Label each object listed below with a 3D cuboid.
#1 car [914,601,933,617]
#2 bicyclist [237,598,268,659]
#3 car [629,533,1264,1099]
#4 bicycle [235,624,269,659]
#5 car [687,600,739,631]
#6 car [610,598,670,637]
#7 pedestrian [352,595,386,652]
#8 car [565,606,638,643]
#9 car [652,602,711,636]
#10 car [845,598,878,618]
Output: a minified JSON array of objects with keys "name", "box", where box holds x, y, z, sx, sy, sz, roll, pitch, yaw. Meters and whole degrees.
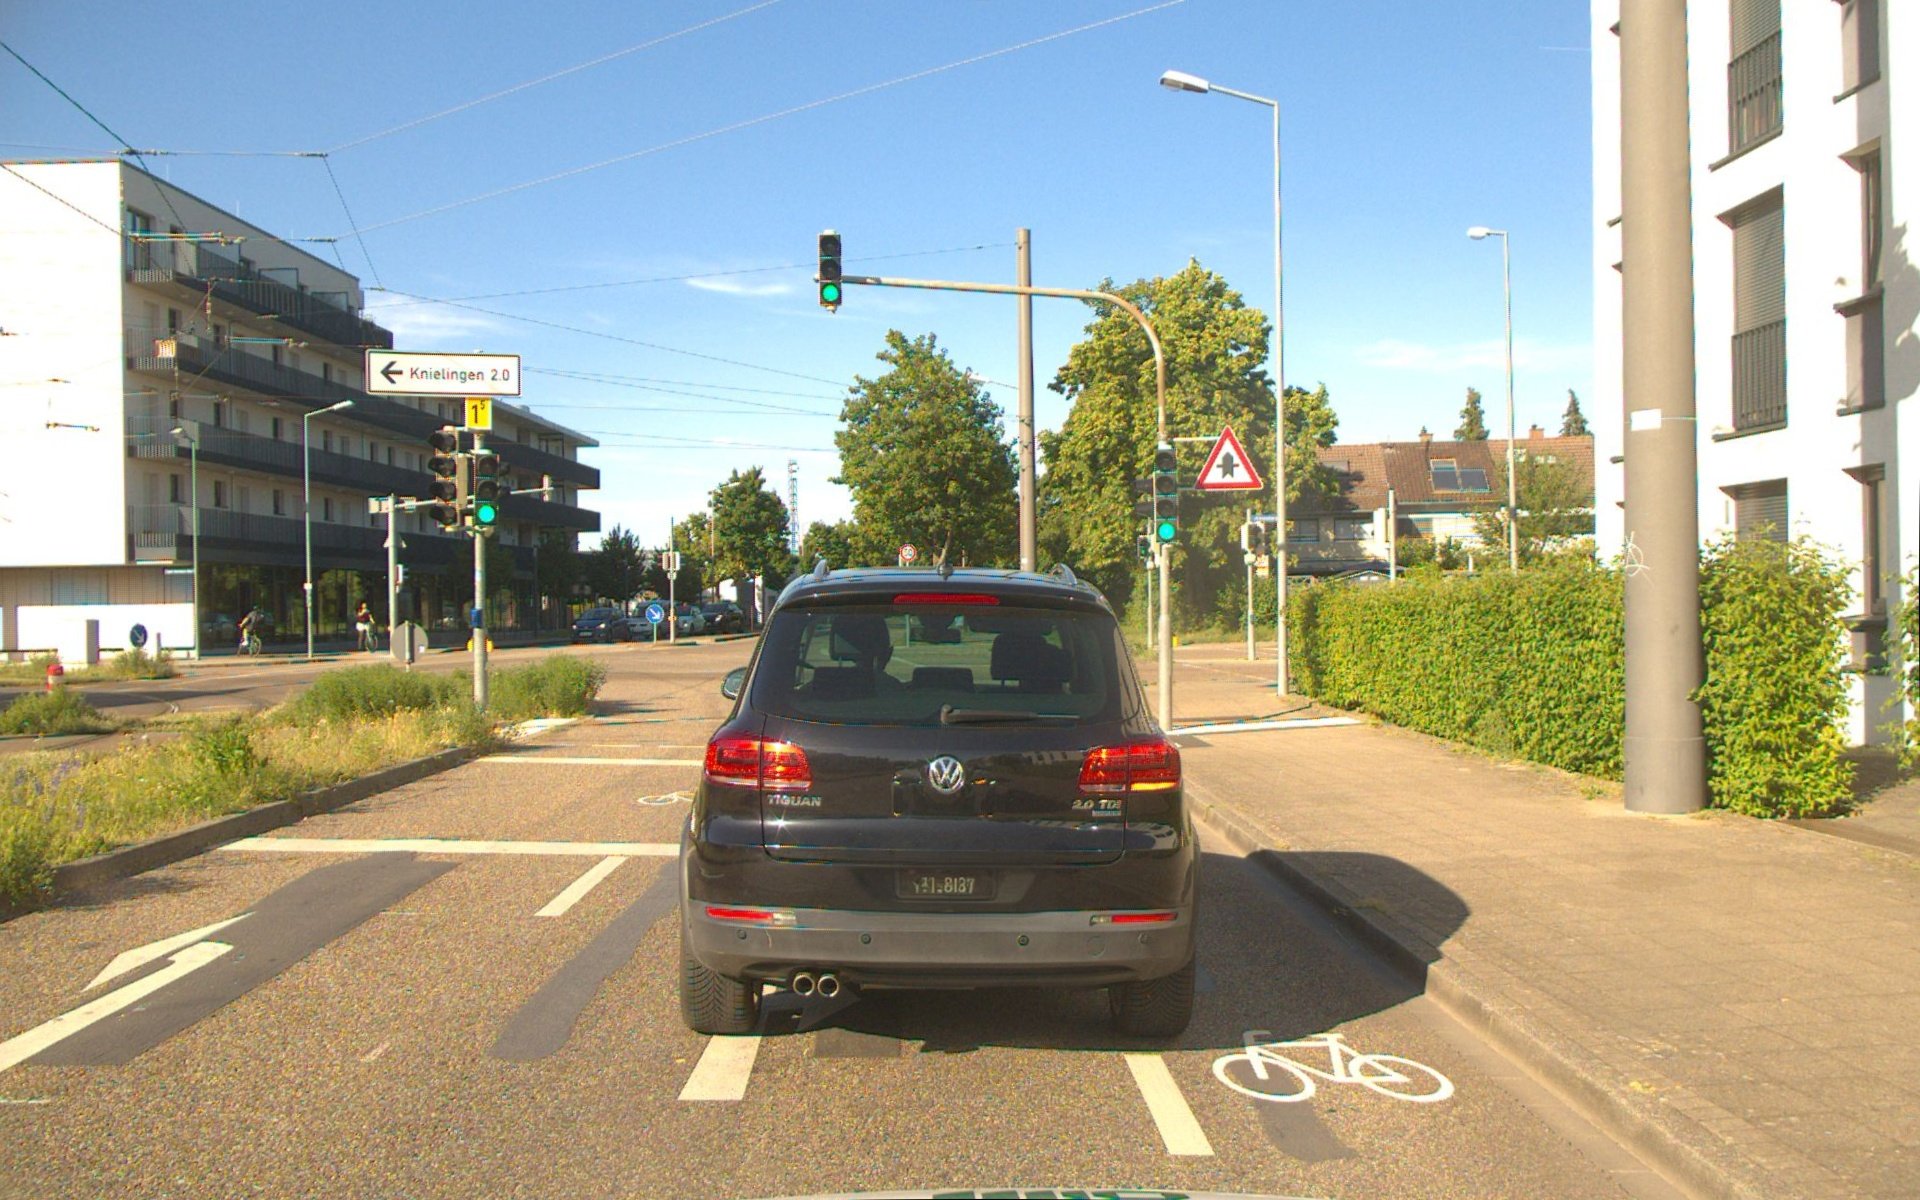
[{"name":"car","box":[-4.216,1.012,192.242,1.952,1.768,5.200,-1,0,1]},{"name":"bicyclist","box":[-24.391,0.978,56.984,0.803,2.049,0.785,-1,0,-37]},{"name":"car","box":[-0.113,0.665,7.260,1.890,1.683,4.512,1,0,-2]},{"name":"bicycle","box":[-24.402,1.421,57.016,0.737,1.164,1.622,-1,0,-36]},{"name":"car","box":[-13.217,0.811,88.749,1.926,1.561,4.741,-1,0,1]},{"name":"car","box":[-15.078,0.802,78.047,1.953,1.786,4.361,-1,0,0]},{"name":"pedestrian","box":[-21.649,0.871,60.603,0.957,2.049,0.760,-1,0,-3]},{"name":"car","box":[-15.289,1.016,70.728,1.659,1.482,4.456,-1,0,7]},{"name":"car","box":[-13.982,0.939,83.173,1.951,1.513,3.546,-3,0,6]},{"name":"car","box":[-7.970,0.622,134.230,1.951,1.599,4.003,-1,0,7]}]
